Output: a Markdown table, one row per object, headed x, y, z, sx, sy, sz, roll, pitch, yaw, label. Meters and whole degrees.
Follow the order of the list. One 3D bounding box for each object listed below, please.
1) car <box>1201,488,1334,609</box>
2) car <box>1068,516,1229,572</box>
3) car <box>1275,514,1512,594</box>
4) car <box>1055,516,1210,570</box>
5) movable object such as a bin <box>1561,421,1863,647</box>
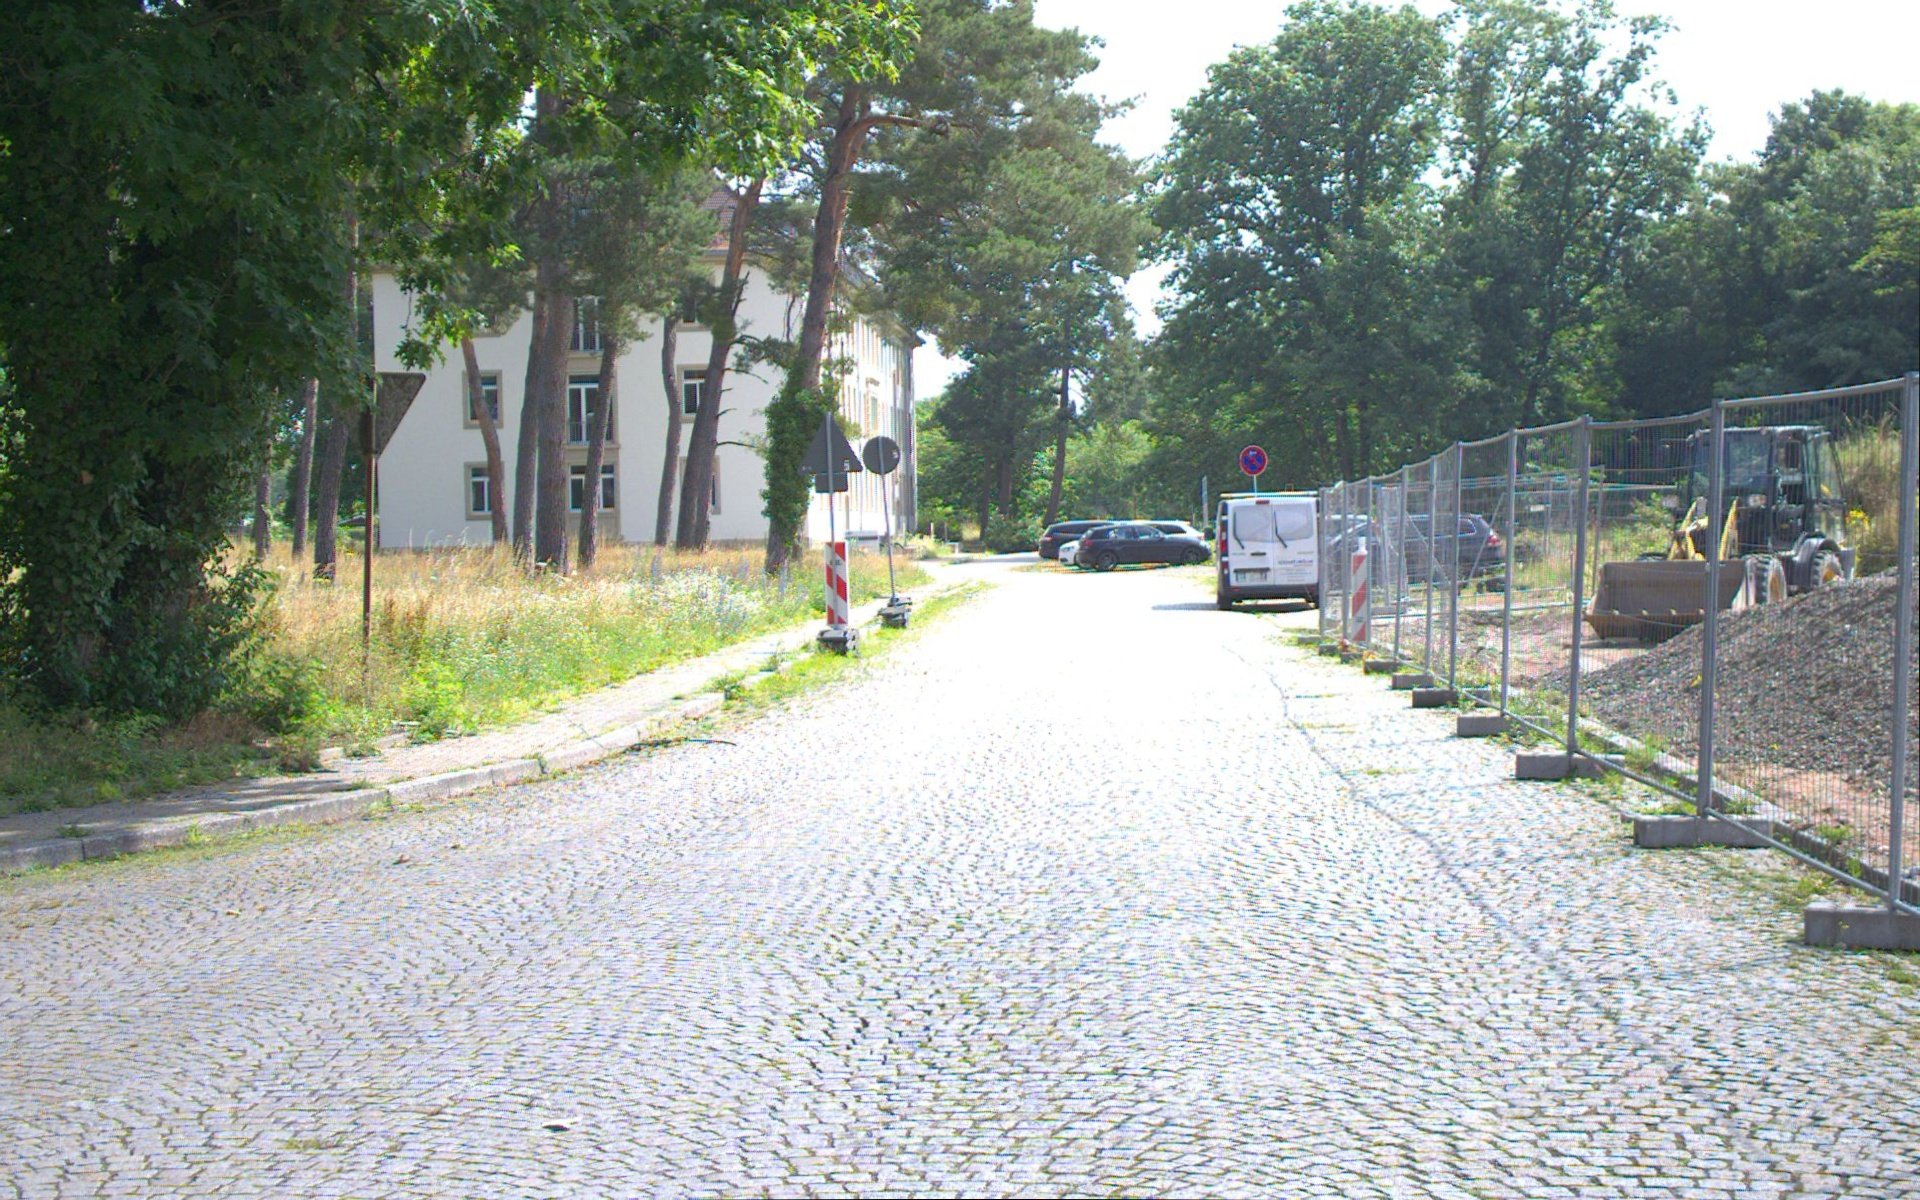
| x | y | z | sx | sy | sz | roll | pitch | yaw | label |
| --- | --- | --- | --- | --- | --- | --- | --- | --- | --- |
| 5.360 | -0.914 | 60.284 | 1.993 | 2.007 | 4.091 | -1 | 1 | 1 | car |
| 5.825 | -1.743 | 106.741 | 4.779 | 1.635 | 2.000 | -1 | 1 | -3 | car |
| 8.303 | -0.896 | 65.704 | 4.404 | 1.505 | 1.999 | 0 | 1 | 10 | car |
| 5.516 | -1.824 | 110.367 | 4.779 | 1.635 | 2.000 | -1 | 1 | -3 | car |
| 9.251 | -0.820 | 41.992 | 2.132 | 2.584 | 4.783 | 0 | 1 | 31 | movable object such as a bin |
